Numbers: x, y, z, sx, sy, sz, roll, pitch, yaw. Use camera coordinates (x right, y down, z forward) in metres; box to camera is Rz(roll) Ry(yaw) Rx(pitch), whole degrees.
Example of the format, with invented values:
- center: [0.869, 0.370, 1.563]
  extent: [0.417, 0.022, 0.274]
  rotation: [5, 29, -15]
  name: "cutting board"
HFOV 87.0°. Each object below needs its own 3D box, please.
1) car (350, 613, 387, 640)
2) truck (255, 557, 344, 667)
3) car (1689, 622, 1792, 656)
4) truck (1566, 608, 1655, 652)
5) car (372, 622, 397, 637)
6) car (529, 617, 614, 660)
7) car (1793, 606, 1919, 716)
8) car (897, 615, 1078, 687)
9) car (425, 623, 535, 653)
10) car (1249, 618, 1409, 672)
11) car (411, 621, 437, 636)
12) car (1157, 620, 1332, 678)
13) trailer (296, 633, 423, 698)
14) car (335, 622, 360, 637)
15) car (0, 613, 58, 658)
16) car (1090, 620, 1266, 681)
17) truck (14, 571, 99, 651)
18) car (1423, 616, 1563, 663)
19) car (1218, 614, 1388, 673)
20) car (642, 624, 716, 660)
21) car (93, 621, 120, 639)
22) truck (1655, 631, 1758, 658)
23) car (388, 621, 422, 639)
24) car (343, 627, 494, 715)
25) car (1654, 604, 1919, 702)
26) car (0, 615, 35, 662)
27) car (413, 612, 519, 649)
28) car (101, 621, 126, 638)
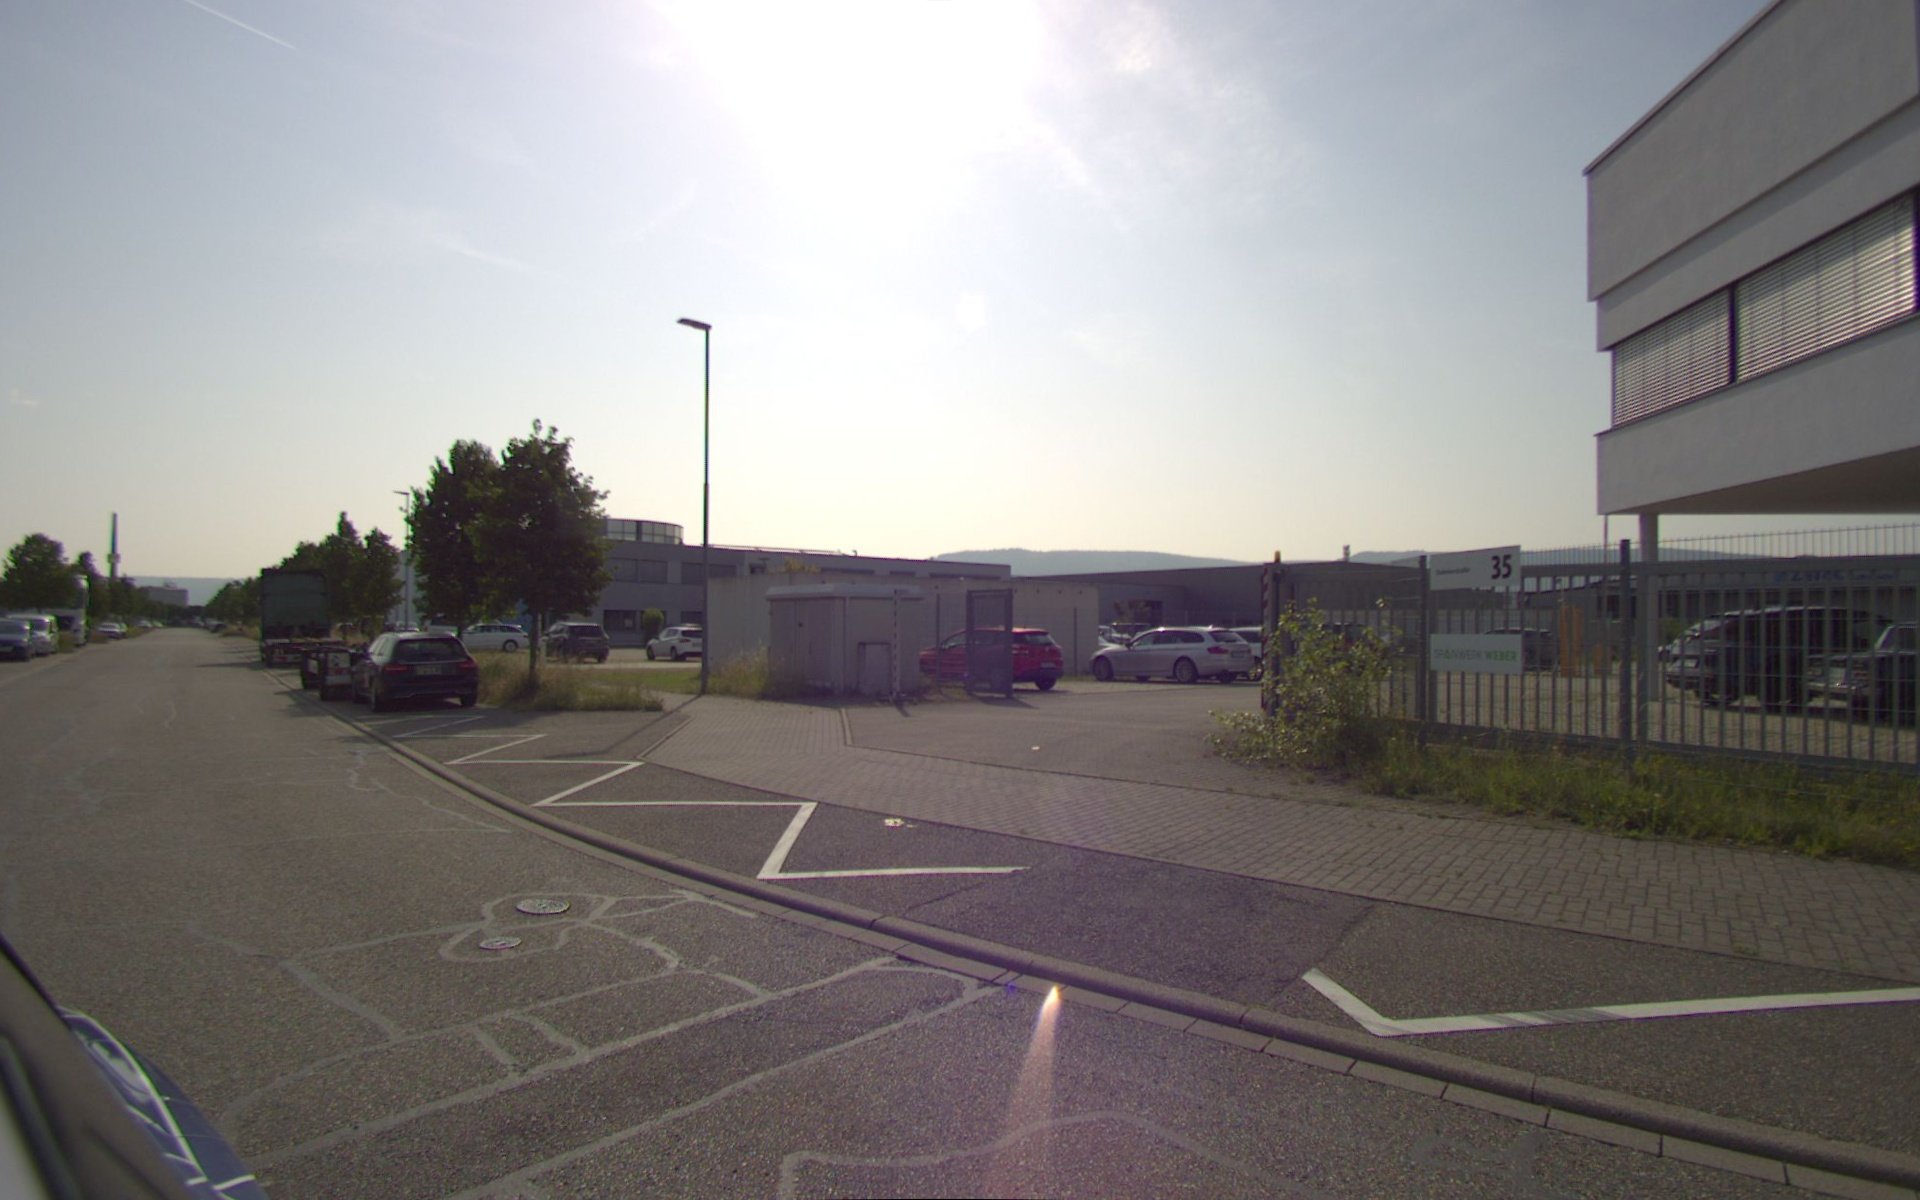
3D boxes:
- center: [-46.882, 2.116, 80.117]
  extent: [1.857, 2.029, 5.001]
  rotation: [2, -3, -38]
  name: "car"
- center: [-26.705, 0.409, 40.686]
  extent: [2.423, 3.911, 9.825]
  rotation: [-1, 0, -36]
  name: "truck"
- center: [42.167, 2.092, 54.765]
  extent: [1.840, 1.782, 4.011]
  rotation: [1, -2, -34]
  name: "car"
- center: [38.719, 1.775, 60.294]
  extent: [1.966, 2.533, 4.011]
  rotation: [1, -2, -32]
  name: "truck"
- center: [-57.260, 2.895, 100.637]
  extent: [1.731, 1.479, 3.927]
  rotation: [1, -2, -36]
  name: "car"
- center: [-16.338, 1.580, 42.458]
  extent: [1.968, 1.699, 4.708]
  rotation: [2, -2, -39]
  name: "car"
- center: [13.971, 0.806, 13.693]
  extent: [3.875, 1.426, 1.559]
  rotation: [0, -1, 8]
  name: "car"
- center: [0.554, 1.181, 23.785]
  extent: [1.749, 1.537, 4.308]
  rotation: [1, -3, -43]
  name: "car"
- center: [-24.123, 1.875, 50.942]
  extent: [4.665, 1.442, 2.004]
  rotation: [1, -1, -37]
  name: "car"
- center: [11.807, 1.431, 32.636]
  extent: [1.910, 1.616, 4.486]
  rotation: [1, -3, -38]
  name: "car"
- center: [-54.436, 2.886, 102.761]
  extent: [1.731, 1.479, 3.927]
  rotation: [1, -2, -36]
  name: "car"
- center: [7.951, 1.365, 28.655]
  extent: [1.910, 1.506, 4.486]
  rotation: [1, -3, -38]
  name: "car"
- center: [-14.754, 1.486, 24.634]
  extent: [2.101, 1.242, 7.174]
  rotation: [-1, -1, -35]
  name: "trailer"
- center: [-59.827, 2.828, 98.759]
  extent: [1.731, 1.420, 3.927]
  rotation: [1, -2, -36]
  name: "car"
- center: [-40.790, 1.501, 43.964]
  extent: [1.967, 1.803, 4.610]
  rotation: [1, 0, -36]
  name: "car"
- center: [5.763, 1.325, 27.258]
  extent: [1.809, 1.506, 4.486]
  rotation: [1, -3, -38]
  name: "car"
- center: [-50.568, 0.690, 56.836]
  extent: [2.710, 4.046, 9.705]
  rotation: [4, -3, -38]
  name: "truck"
- center: [20.890, 1.529, 39.804]
  extent: [1.959, 1.741, 4.461]
  rotation: [1, -2, -41]
  name: "car"
- center: [10.180, 1.295, 30.333]
  extent: [1.910, 1.616, 4.486]
  rotation: [1, -3, -38]
  name: "car"
- center: [-12.693, 1.872, 45.544]
  extent: [1.683, 1.527, 4.221]
  rotation: [2, -2, -39]
  name: "car"
- center: [-76.304, 2.678, 90.509]
  extent: [1.643, 1.515, 3.548]
  rotation: [4, -3, -38]
  name: "car"
- center: [39.602, 2.325, 53.735]
  extent: [1.840, 1.320, 4.011]
  rotation: [1, -2, -34]
  name: "truck"
- center: [-49.539, 2.657, 90.296]
  extent: [1.917, 1.619, 4.518]
  rotation: [1, -2, -38]
  name: "car"
- center: [-10.797, 1.303, 20.026]
  extent: [1.967, 1.478, 4.442]
  rotation: [-1, -1, -37]
  name: "car"
- center: [14.005, 0.825, 16.514]
  extent: [3.953, 1.499, 1.864]
  rotation: [0, -1, 8]
  name: "car"
- center: [-37.792, 1.493, 39.793]
  extent: [1.802, 1.733, 4.257]
  rotation: [1, 0, -38]
  name: "car"
- center: [-25.887, 1.597, 53.078]
  extent: [4.643, 1.850, 2.107]
  rotation: [1, -2, -37]
  name: "car"
- center: [-81.211, 2.801, 97.150]
  extent: [1.668, 1.515, 3.548]
  rotation: [4, -3, -38]
  name: "car"
